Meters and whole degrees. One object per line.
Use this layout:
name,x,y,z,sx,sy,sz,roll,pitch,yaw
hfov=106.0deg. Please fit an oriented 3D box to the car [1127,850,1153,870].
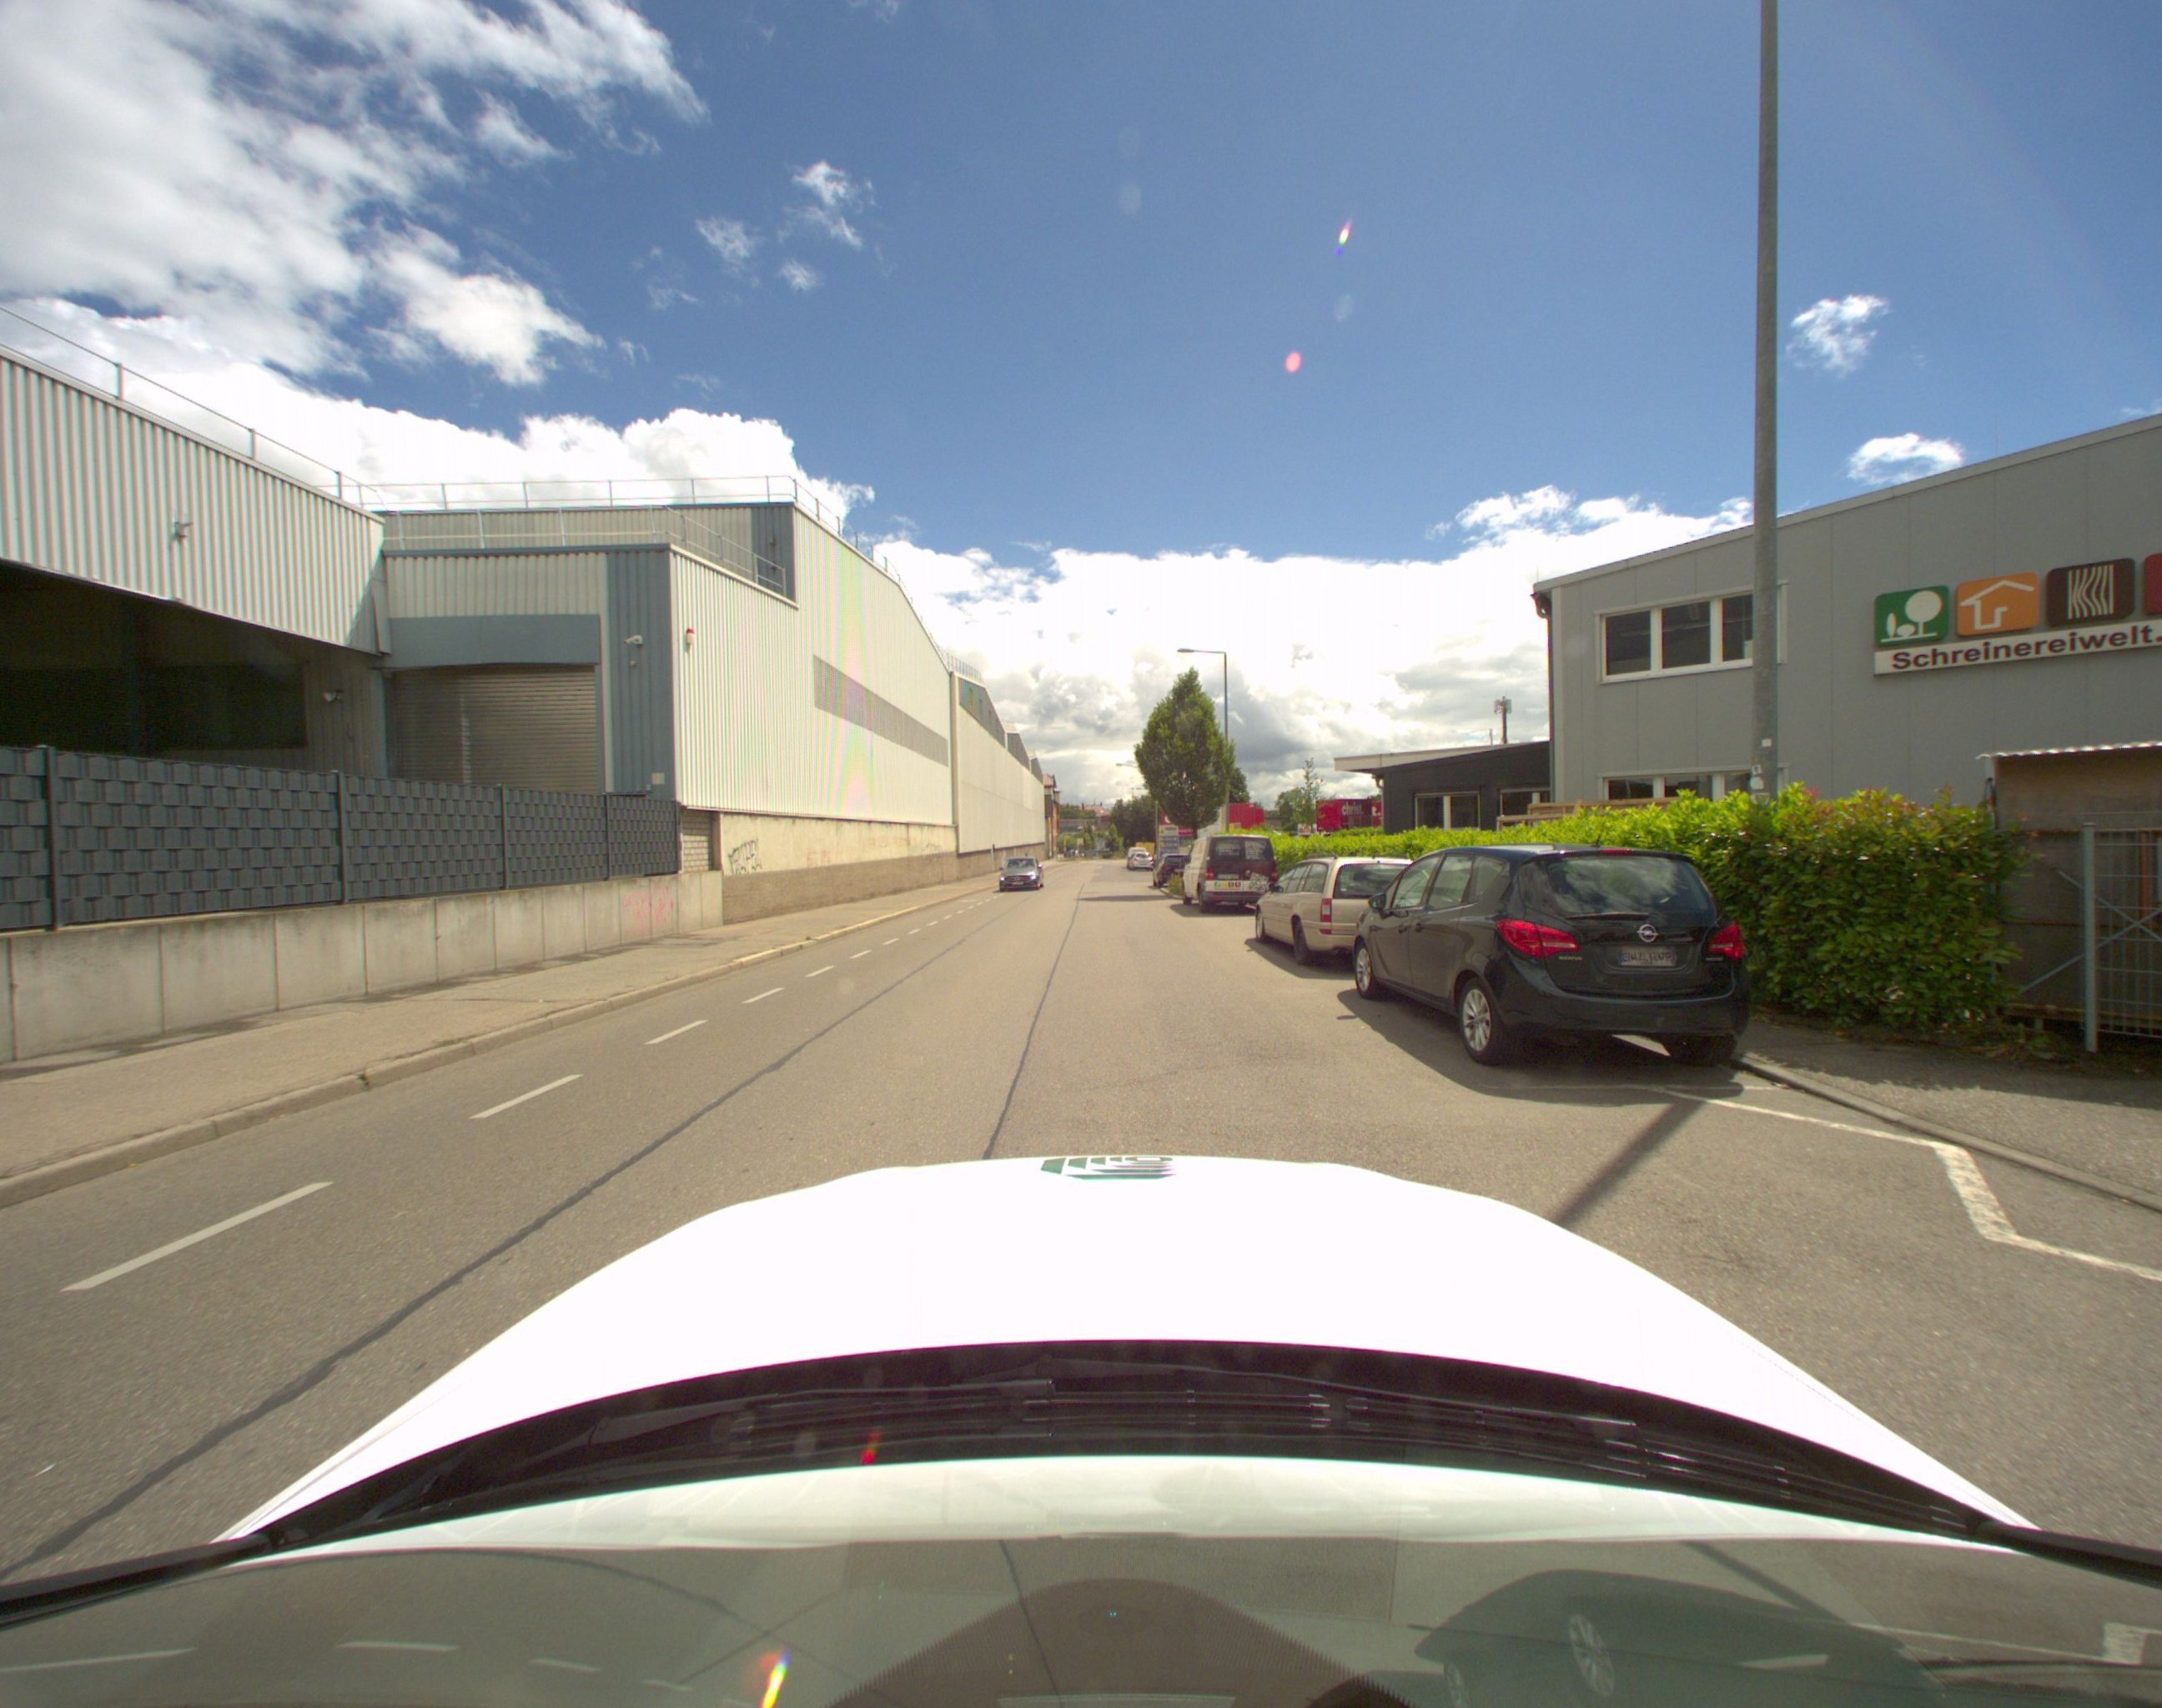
car,4.762,0.452,66.184,1.697,1.527,3.734,1,0,-3

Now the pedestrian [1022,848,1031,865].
pedestrian,-5.106,0.240,76.537,0.710,1.638,0.777,-2,-2,3

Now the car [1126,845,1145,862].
car,5.153,-0.020,77.073,1.694,1.527,3.741,-1,0,3

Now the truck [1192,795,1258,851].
truck,12.772,-2.647,73.223,2.580,4.449,7.818,-1,-2,-16

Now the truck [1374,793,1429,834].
truck,36.223,-4.502,91.859,2.961,4.059,8.530,-3,-2,40

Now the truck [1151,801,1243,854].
truck,11.372,-2.543,80.084,8.376,4.671,2.596,-2,-2,22

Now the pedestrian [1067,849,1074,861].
pedestrian,-1.526,0.127,116.325,0.849,1.663,0.861,-2,-2,5

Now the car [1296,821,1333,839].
car,38.480,-3.897,134.447,5.589,2.677,2.011,-2,-2,22

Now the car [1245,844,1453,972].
car,3.781,0.667,12.418,1.649,1.540,4.735,-1,0,1

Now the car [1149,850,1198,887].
car,4.011,0.595,36.007,1.708,1.473,4.512,-1,0,1

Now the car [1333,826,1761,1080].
car,3.656,0.638,7.347,1.672,1.638,4.126,0,0,3

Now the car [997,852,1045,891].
car,-2.691,0.810,37.547,1.713,1.555,4.288,-5,-1,0

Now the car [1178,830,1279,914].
car,3.867,0.435,22.280,1.862,1.990,5.144,-1,0,1

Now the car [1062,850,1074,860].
car,-2.077,0.216,133.335,1.846,1.486,4.000,-1,-2,1

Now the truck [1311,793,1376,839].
truck,26.069,-3.651,80.606,2.961,4.059,8.530,-3,-2,40

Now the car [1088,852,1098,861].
car,2.115,0.440,144.662,1.846,1.486,4.000,-1,-2,1
